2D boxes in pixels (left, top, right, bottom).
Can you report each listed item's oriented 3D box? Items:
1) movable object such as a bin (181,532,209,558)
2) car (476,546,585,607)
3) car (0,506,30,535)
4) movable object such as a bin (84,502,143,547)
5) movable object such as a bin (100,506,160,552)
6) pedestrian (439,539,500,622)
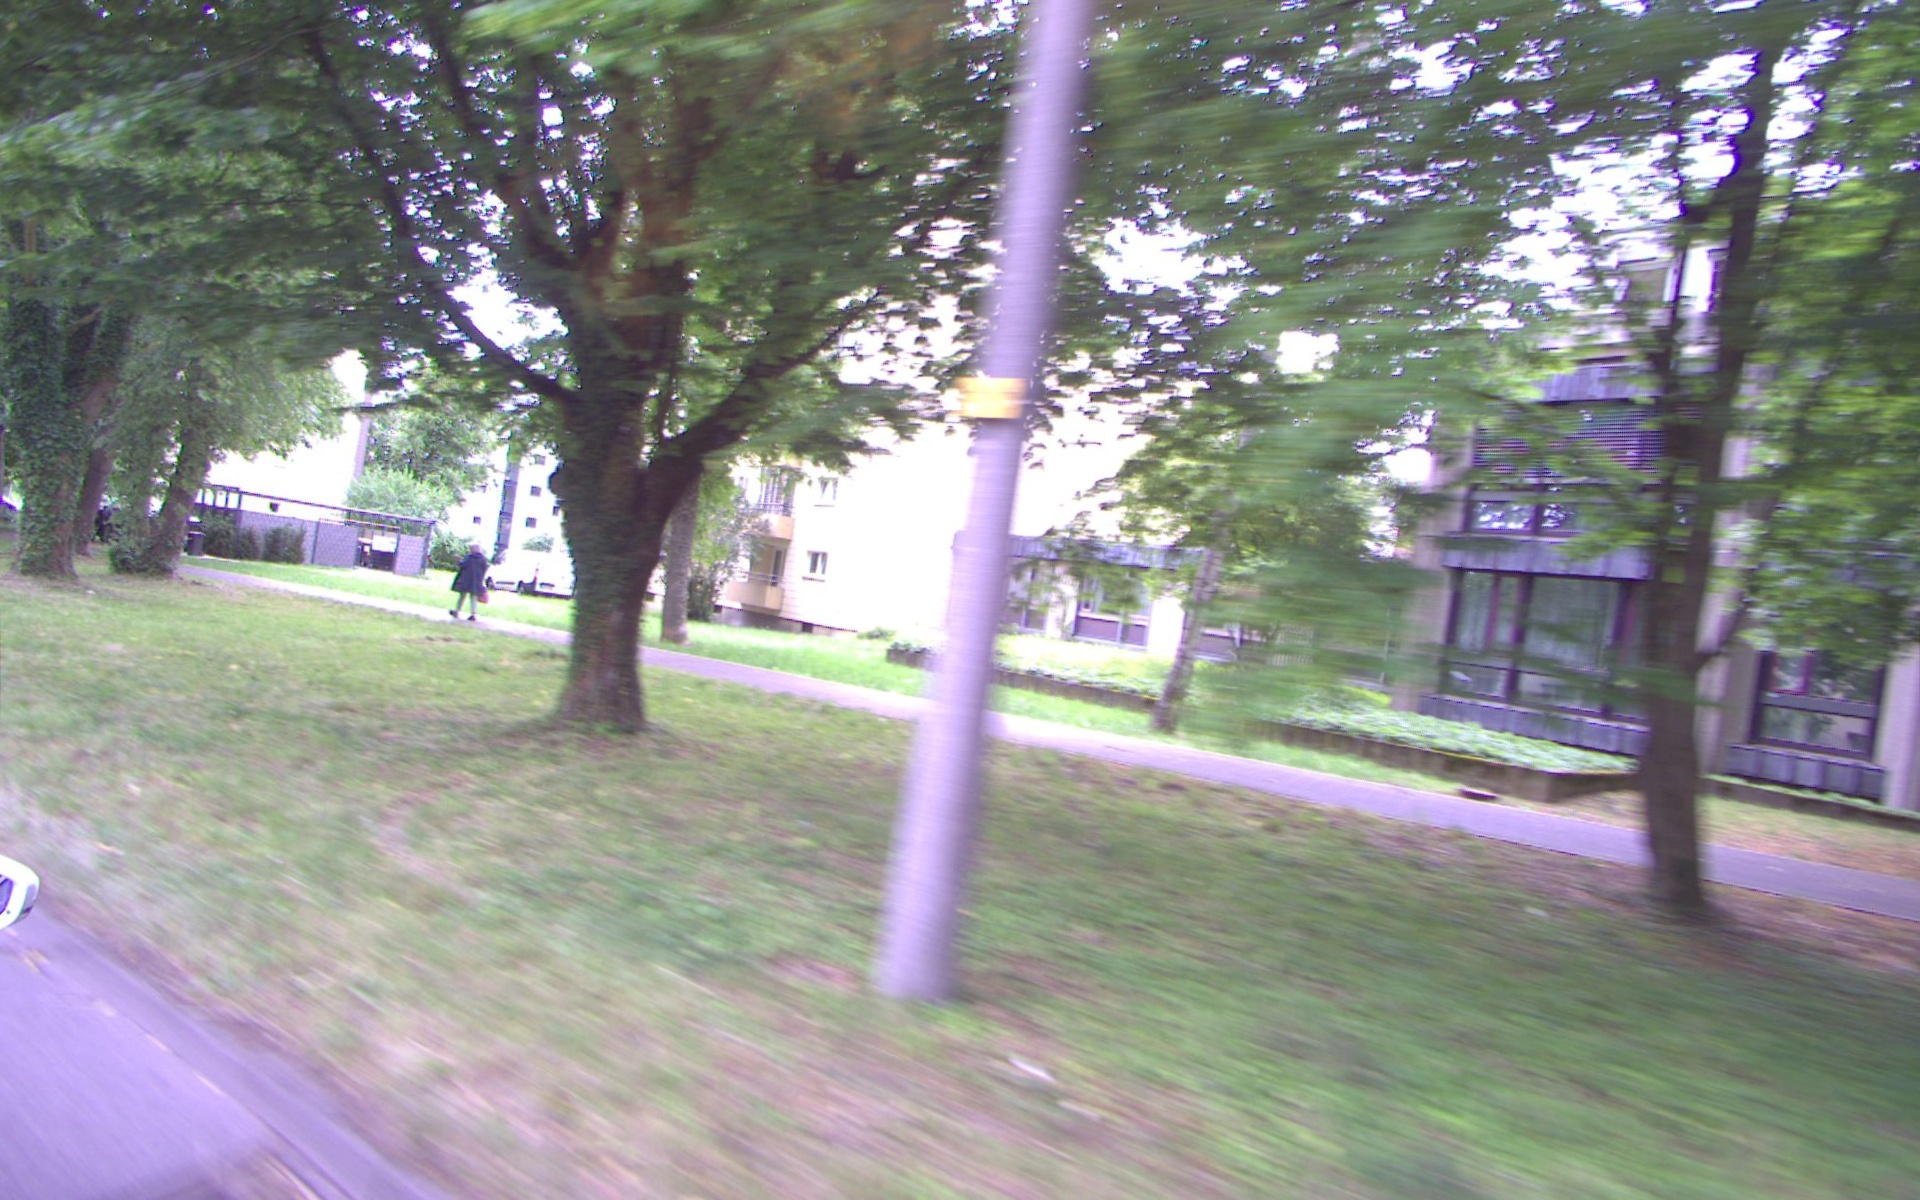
[{"bbox_3d":[-30.088,-2.169,39.566,0.657,0.889,0.599,7,0,30],"label":"movable object such as a bin"},{"bbox_3d":[-17.819,-0.979,41.637,4.896,1.866,2.083,8,1,41],"label":"car"},{"bbox_3d":[-70.300,-6.027,72.806,3.965,1.746,1.783,11,0,-33],"label":"car"},{"bbox_3d":[-33.701,-3.010,40.057,1.292,1.520,1.329,7,0,30],"label":"movable object such as a bin"},{"bbox_3d":[-32.440,-2.771,39.324,1.292,1.520,1.329,7,0,30],"label":"movable object such as a bin"},{"bbox_3d":[-10.927,-0.427,22.415,0.801,1.707,0.769,7,1,31],"label":"pedestrian"}]
